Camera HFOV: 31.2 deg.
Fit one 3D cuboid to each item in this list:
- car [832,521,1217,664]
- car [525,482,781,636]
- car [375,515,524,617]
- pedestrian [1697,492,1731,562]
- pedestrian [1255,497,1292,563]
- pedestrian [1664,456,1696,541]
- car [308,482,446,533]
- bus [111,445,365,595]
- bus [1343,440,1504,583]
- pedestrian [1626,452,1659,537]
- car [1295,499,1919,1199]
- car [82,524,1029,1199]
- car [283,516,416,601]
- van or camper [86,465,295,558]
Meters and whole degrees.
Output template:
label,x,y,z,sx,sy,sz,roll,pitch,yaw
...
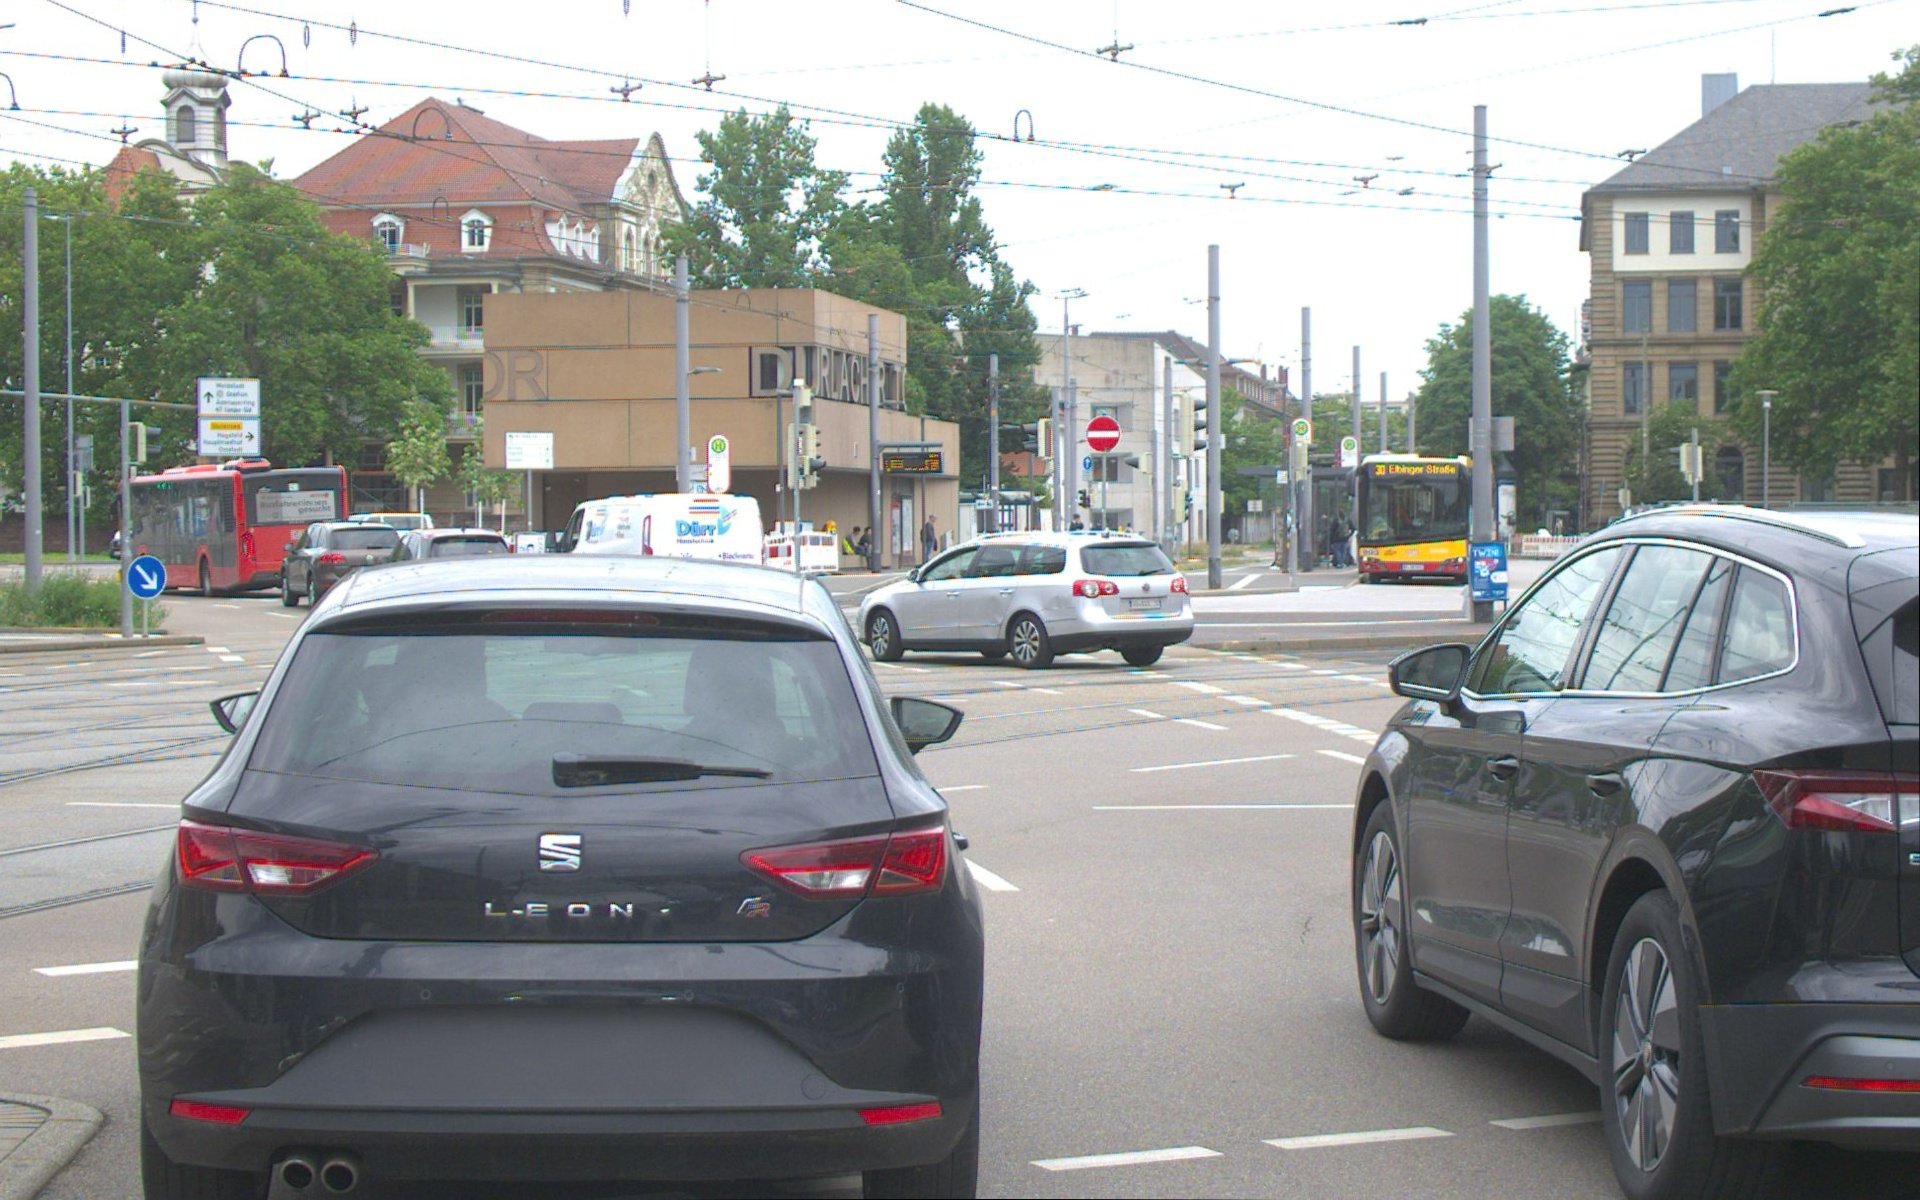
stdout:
label,x,y,z,sx,sy,sz,roll,pitch,yaw
car,0.659,-0.118,38.780,1.721,1.477,4.627,-3,2,-39
car,-4.336,-0.607,47.756,1.993,2.012,5.033,-1,2,-24
car,-8.434,-0.596,56.566,1.857,1.594,4.206,-1,2,-16
pedestrian,20.160,-1.963,91.946,0.824,1.847,1.020,0,1,15
pedestrian,8.587,-1.916,94.196,0.824,1.802,1.020,0,1,15
pedestrian,36.248,-5.122,173.040,1.307,4.239,1.347,0,1,0
car,-22.729,-3.612,134.158,4.992,1.858,1.998,-2,-1,-45
bus,-17.262,-1.872,81.370,3.058,3.286,12.382,-1,1,-25
bus,11.551,-2.165,84.655,3.018,3.256,13.037,0,1,12
pedestrian,34.429,-5.312,173.334,1.387,4.239,1.347,0,1,0
car,2.244,0.569,8.953,1.903,1.652,4.516,-1,1,-5
car,-0.955,0.557,8.402,1.745,1.459,4.001,0,1,-6
car,-11.779,-0.832,66.142,1.993,1.560,4.206,-1,2,-17
van or camper,-28.695,-3.326,128.414,7.134,3.320,2.875,-2,1,-45
